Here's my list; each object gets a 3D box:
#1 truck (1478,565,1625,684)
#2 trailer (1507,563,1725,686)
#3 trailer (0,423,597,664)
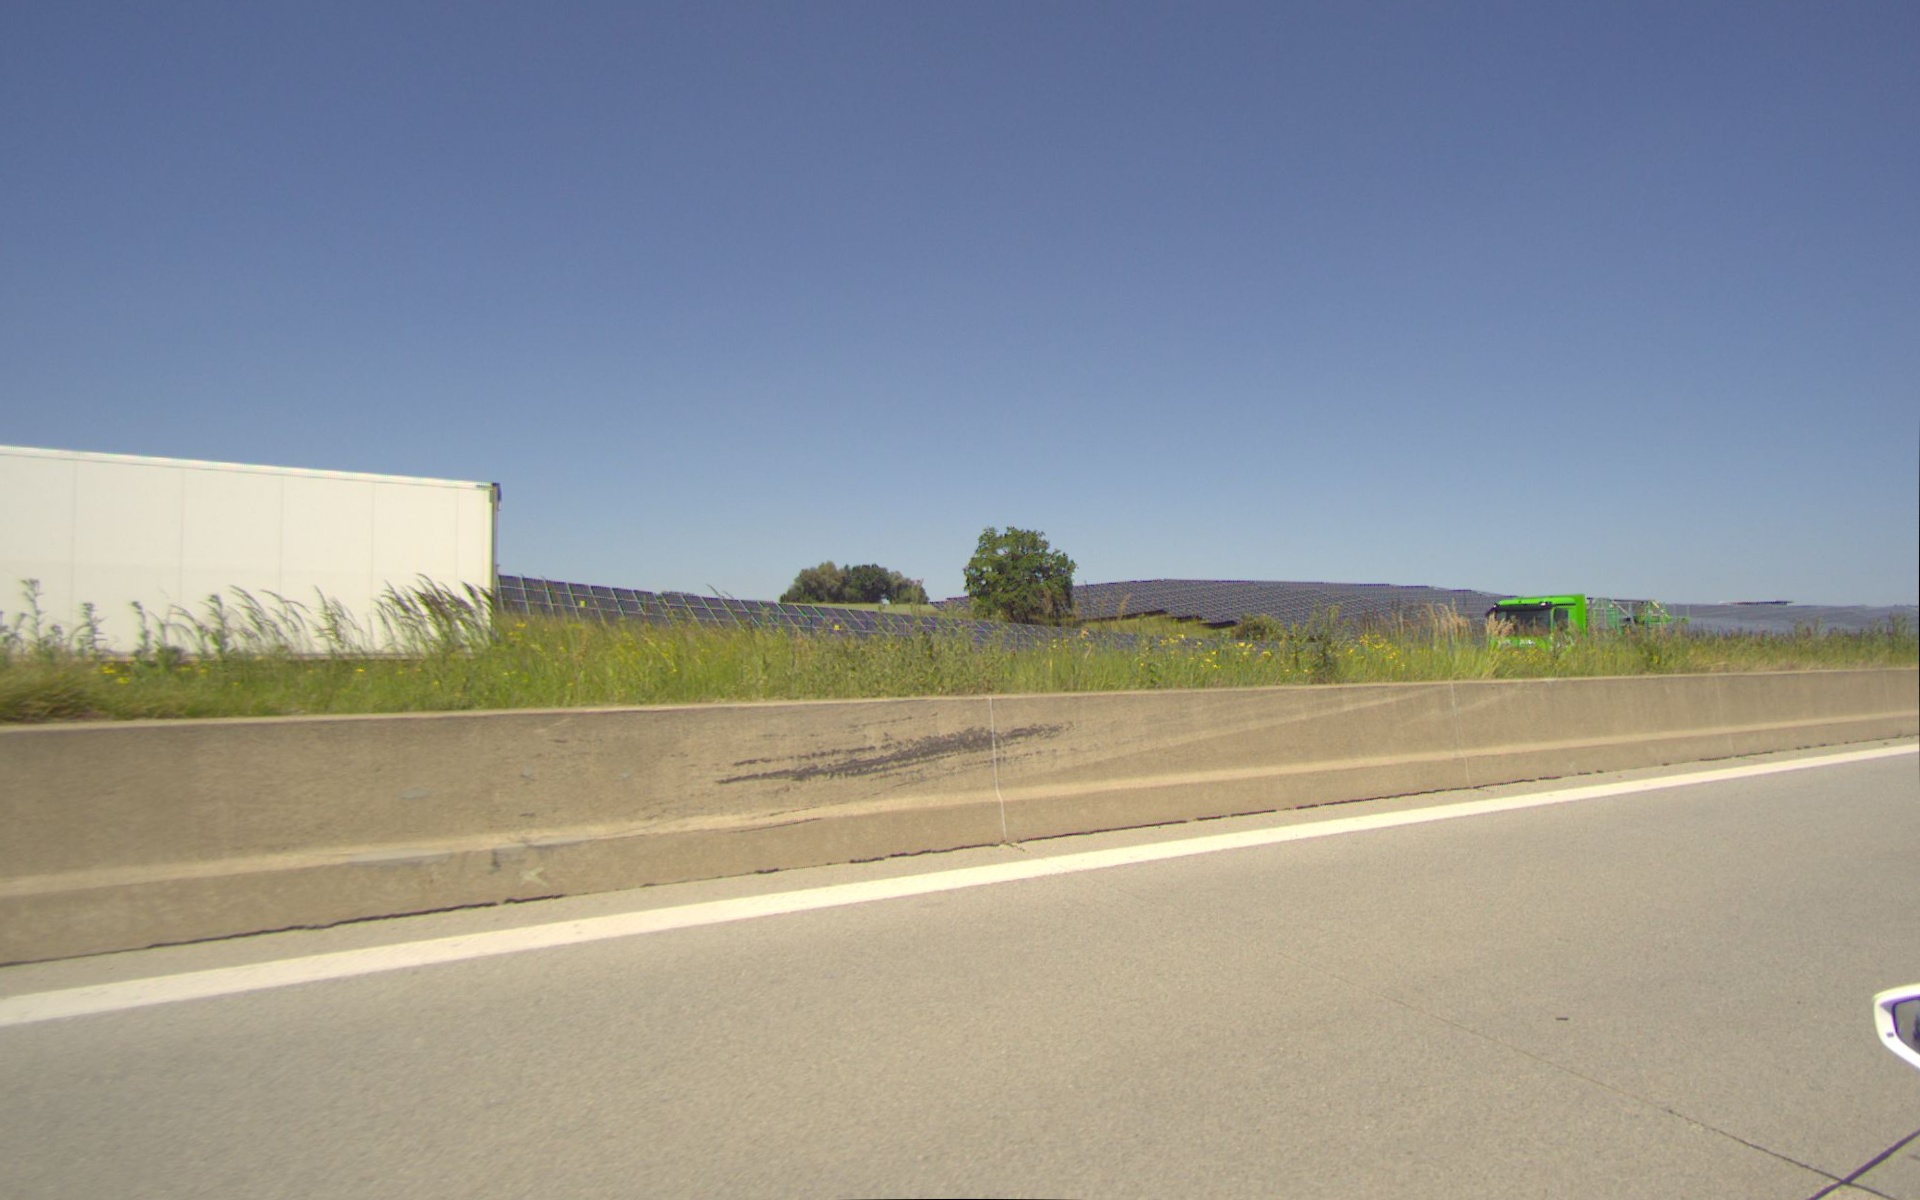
[{"bbox_3d":[21.283,0.861,36.176,4.301,4.004,2.732,2,0,-30],"label":"truck"},{"bbox_3d":[25.248,0.946,38.442,10.136,4.247,2.719,1,0,-30],"label":"trailer"},{"bbox_3d":[-13.173,-0.761,14.940,14.336,3.226,2.819,2,0,-30],"label":"trailer"}]
